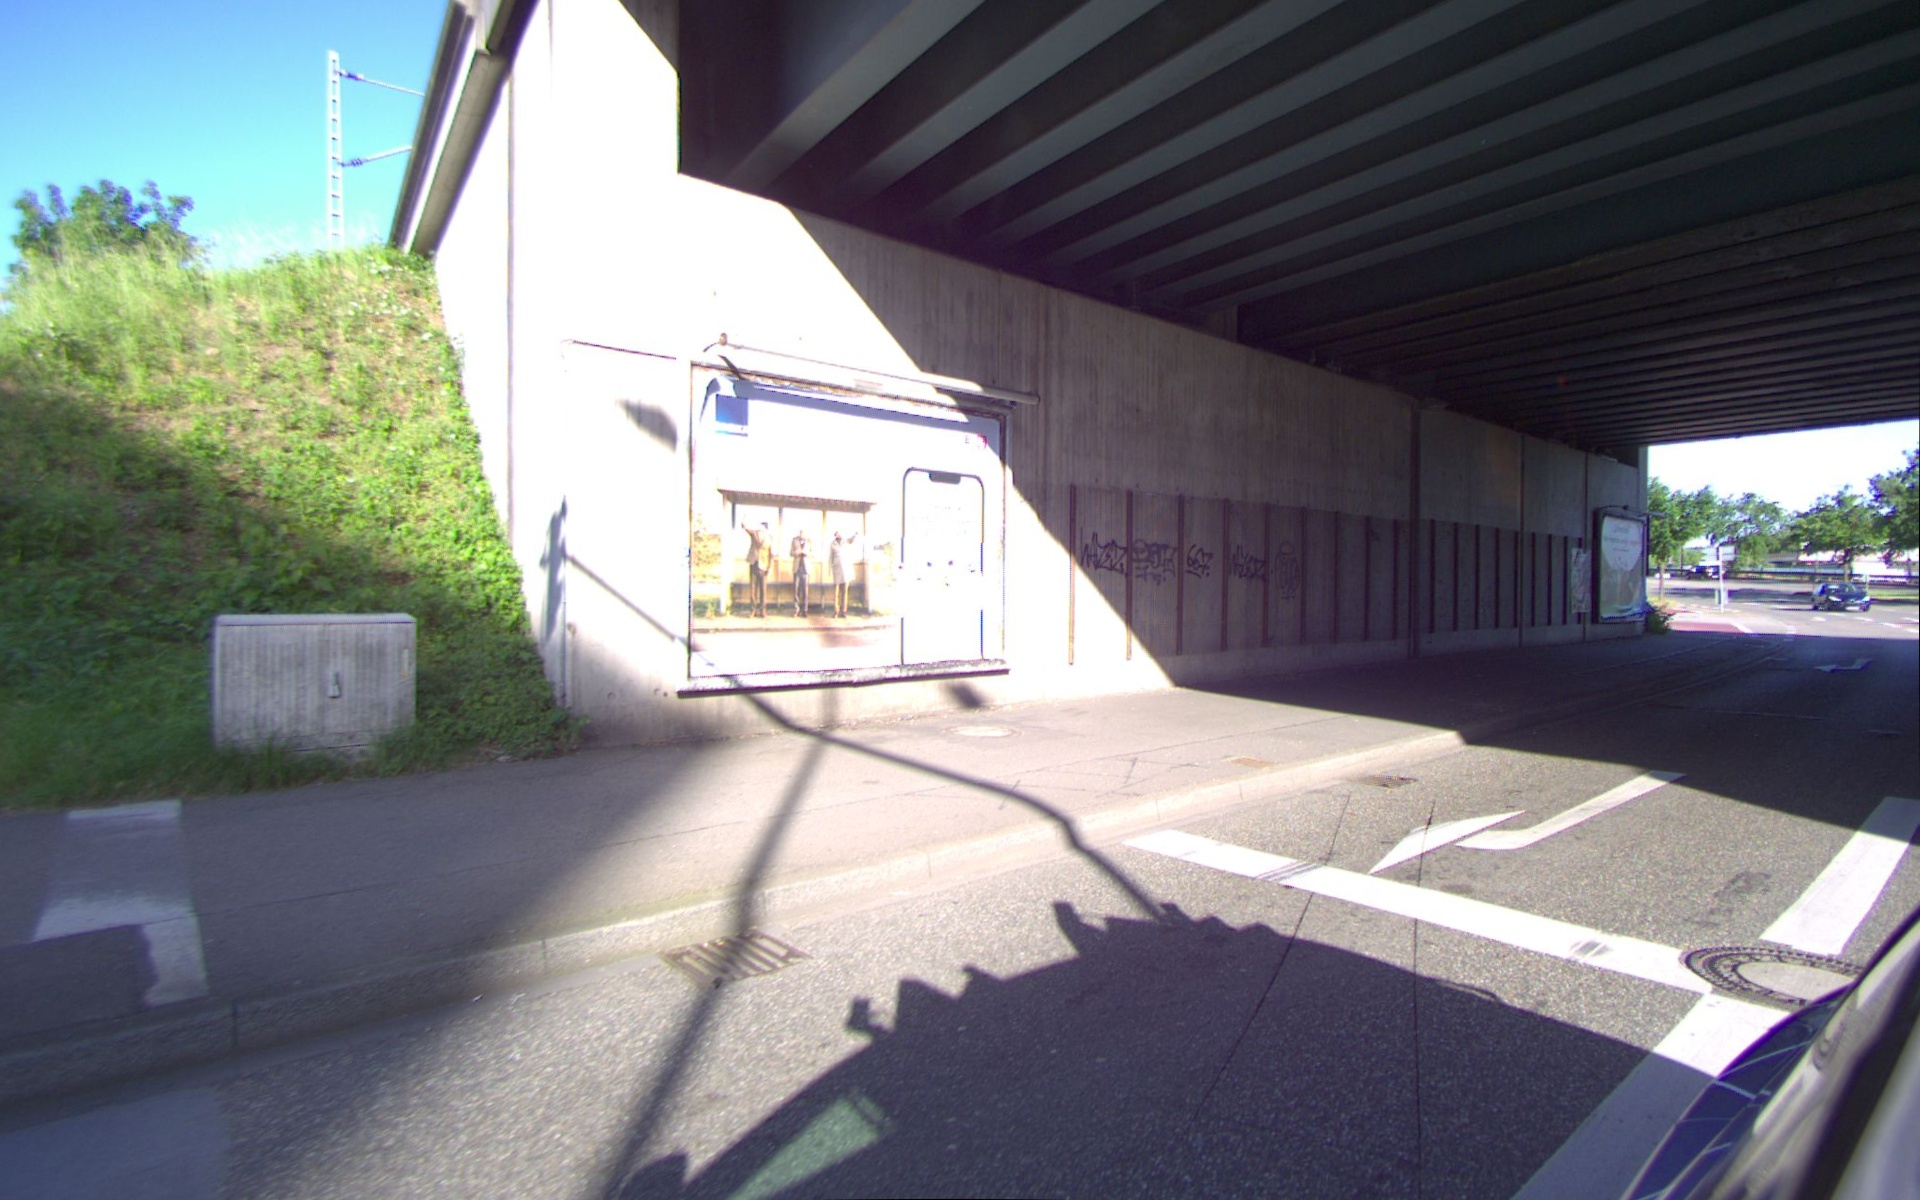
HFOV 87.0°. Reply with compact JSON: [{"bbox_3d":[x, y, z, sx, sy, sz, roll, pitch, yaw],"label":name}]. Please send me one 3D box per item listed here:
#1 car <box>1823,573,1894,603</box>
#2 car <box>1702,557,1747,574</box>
[{"bbox_3d":[46.977,-0.628,53.008,1.832,1.501,3.943,0,0,28],"label":"car"},{"bbox_3d":[77.198,-3.477,102.264,1.800,1.607,4.173,0,1,9],"label":"car"}]
